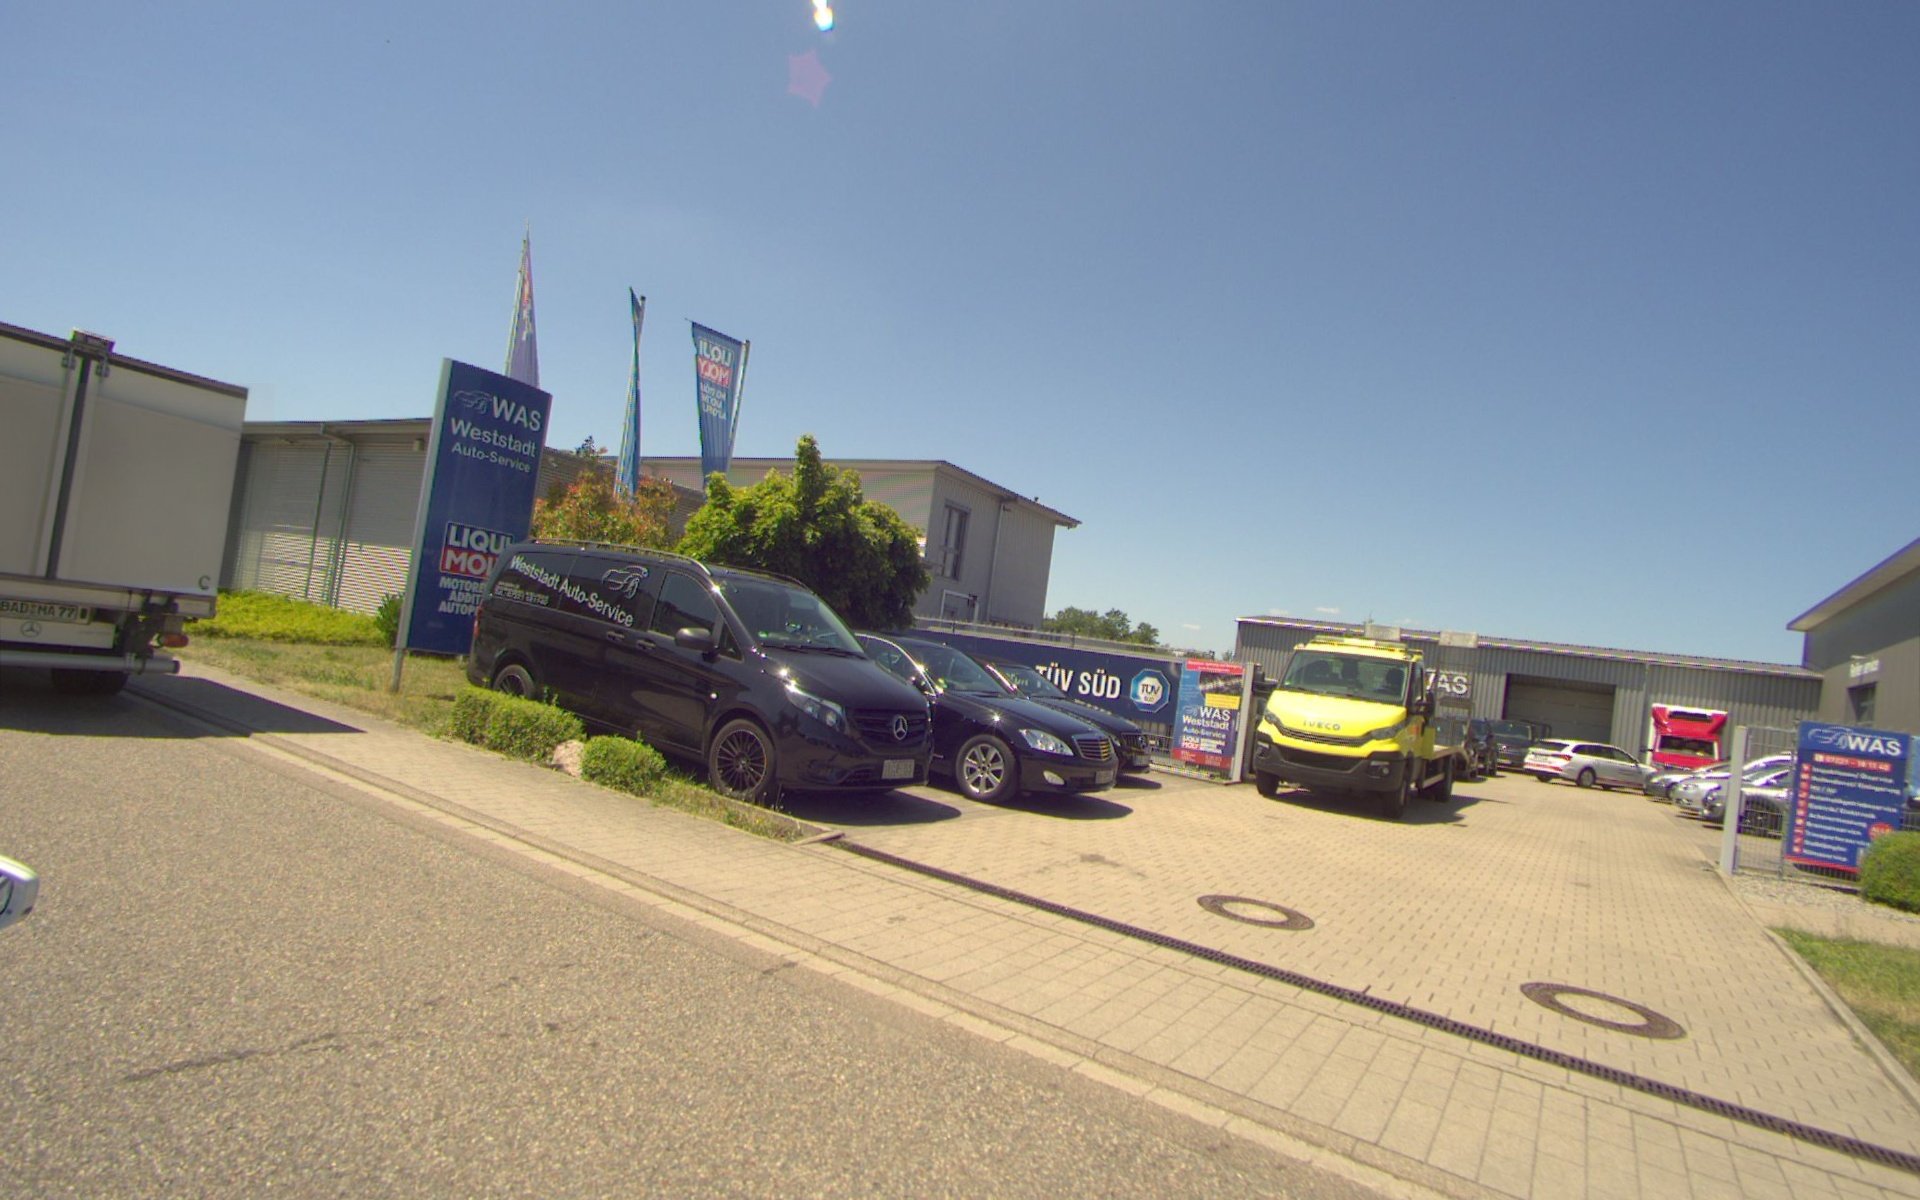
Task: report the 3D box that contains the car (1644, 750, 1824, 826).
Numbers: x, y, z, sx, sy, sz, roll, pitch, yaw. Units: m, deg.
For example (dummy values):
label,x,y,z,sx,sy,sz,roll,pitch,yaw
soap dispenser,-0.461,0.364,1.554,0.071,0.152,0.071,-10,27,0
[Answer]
label,x,y,z,sx,sy,sz,roll,pitch,yaw
car,21.035,5.083,27.539,3.698,1.351,1.720,5,-4,34

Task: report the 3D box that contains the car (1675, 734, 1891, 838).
label,x,y,z,sx,sy,sz,roll,pitch,yaw
car,20.271,4.561,25.018,3.869,1.819,1.720,5,-4,34

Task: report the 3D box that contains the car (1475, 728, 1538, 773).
label,x,y,z,sx,sy,sz,roll,pitch,yaw
car,21.325,5.886,39.196,1.695,1.432,3.912,5,-5,34

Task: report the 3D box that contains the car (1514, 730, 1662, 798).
label,x,y,z,sx,sy,sz,roll,pitch,yaw
car,20.246,5.271,32.472,3.940,1.512,1.719,9,-3,-14

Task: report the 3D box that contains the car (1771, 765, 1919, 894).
label,x,y,z,sx,sy,sz,roll,pitch,yaw
car,12.677,3.068,12.745,3.514,1.320,1.587,5,-2,34

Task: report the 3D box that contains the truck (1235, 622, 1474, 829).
label,x,y,z,sx,sy,sz,roll,pitch,yaw
truck,6.371,1.900,15.667,2.145,2.397,5.944,6,-3,33

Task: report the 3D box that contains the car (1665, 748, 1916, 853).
label,x,y,z,sx,sy,sz,roll,pitch,yaw
car,17.427,4.187,21.378,3.854,1.432,1.720,5,-4,34

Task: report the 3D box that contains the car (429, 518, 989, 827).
label,x,y,z,sx,sy,sz,roll,pitch,yaw
car,-2.570,0.523,9.616,5.251,2.036,1.997,6,-3,34

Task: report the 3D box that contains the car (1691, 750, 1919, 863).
label,x,y,z,sx,sy,sz,roll,pitch,yaw
car,16.252,3.871,18.920,3.854,1.433,1.720,6,-3,34

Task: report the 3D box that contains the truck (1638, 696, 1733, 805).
label,x,y,z,sx,sy,sz,roll,pitch,yaw
truck,26.052,5.441,36.299,2.321,3.278,6.264,6,-4,35

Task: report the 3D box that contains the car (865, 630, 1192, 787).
label,x,y,z,sx,sy,sz,roll,pitch,yaw
car,0.897,1.444,13.977,4.048,1.386,1.805,8,-2,34

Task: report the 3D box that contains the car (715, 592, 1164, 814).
label,x,y,z,sx,sy,sz,roll,pitch,yaw
car,-0.325,1.036,11.183,4.516,1.554,1.997,8,-2,34

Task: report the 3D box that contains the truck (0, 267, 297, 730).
label,x,y,z,sx,sy,sz,roll,pitch,yaw
truck,-9.359,-0.946,9.529,6.774,3.241,2.461,6,-3,35
